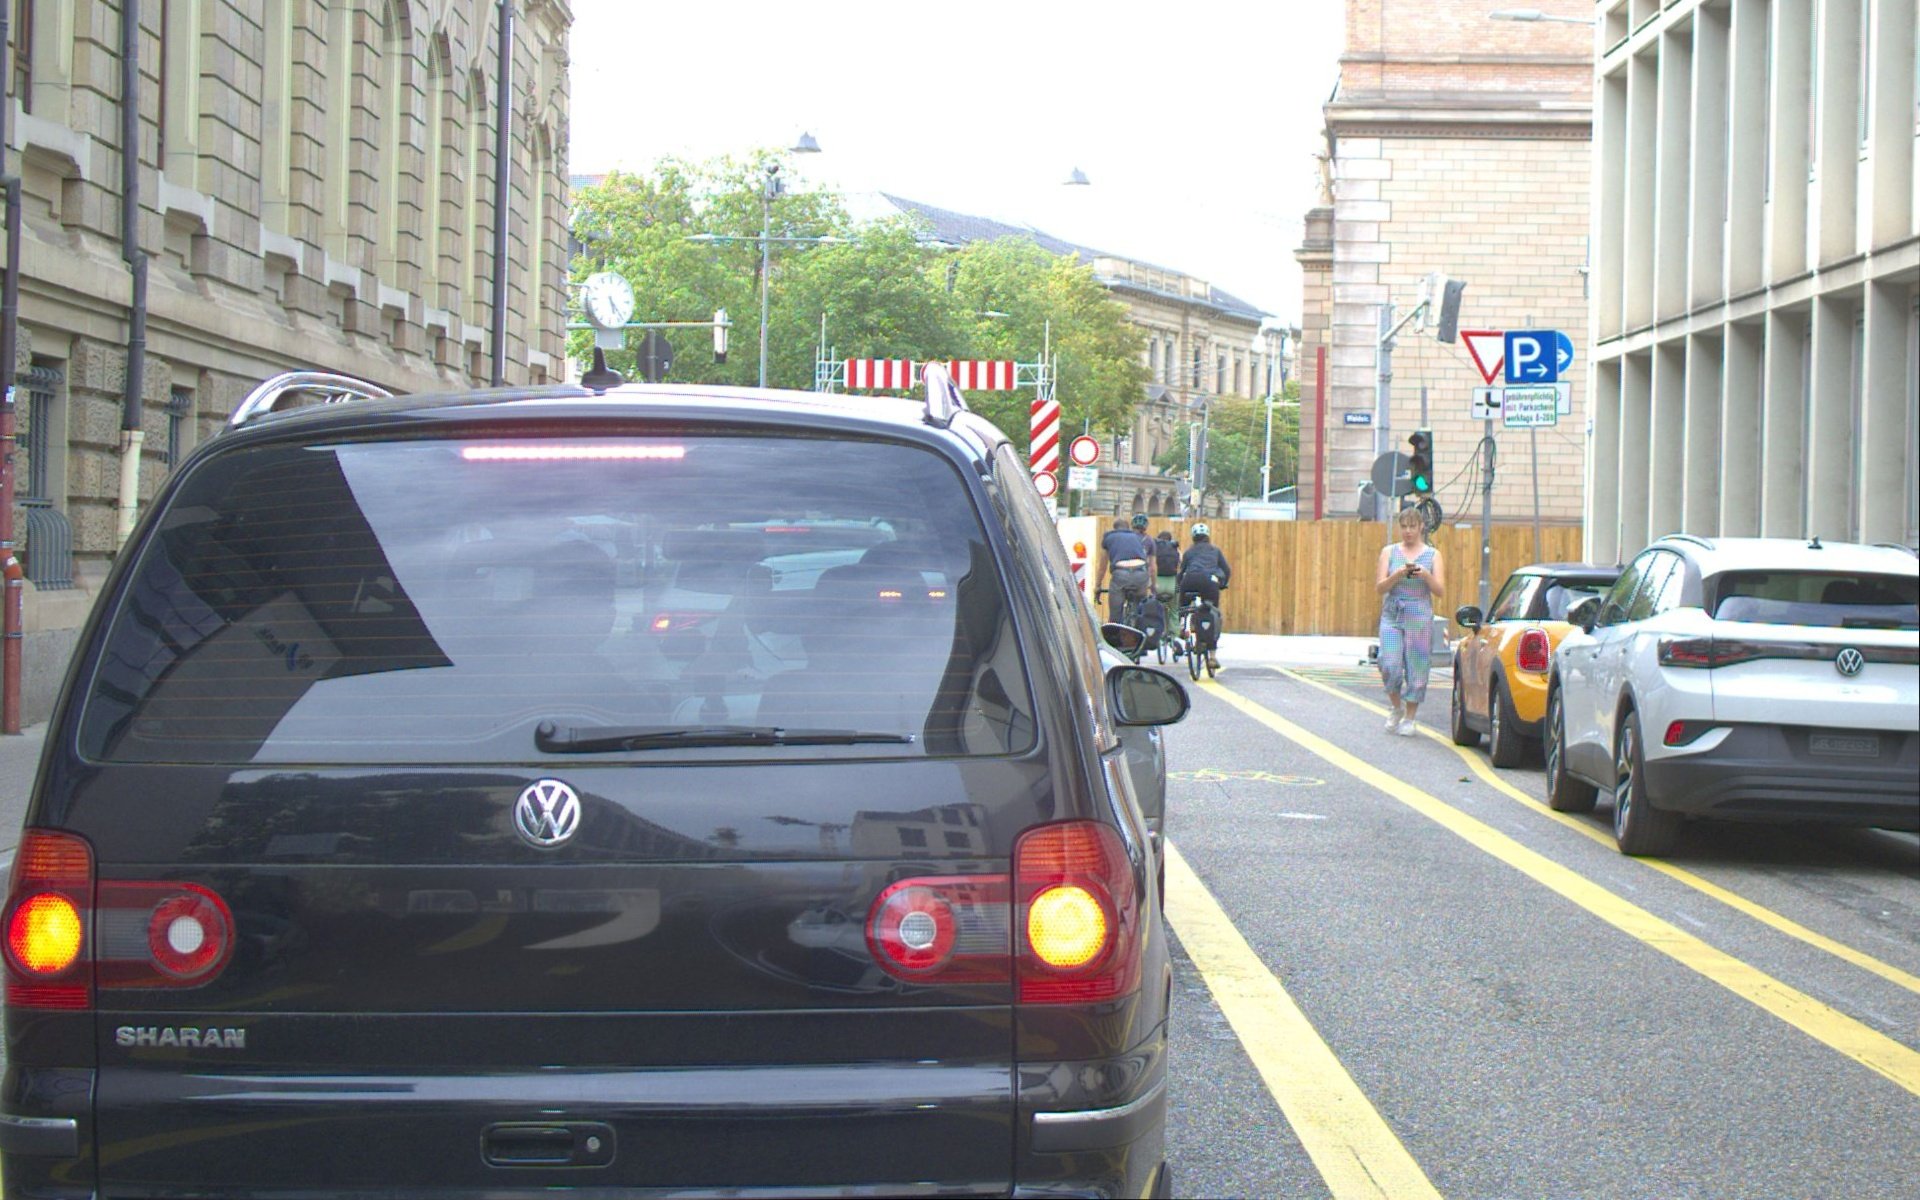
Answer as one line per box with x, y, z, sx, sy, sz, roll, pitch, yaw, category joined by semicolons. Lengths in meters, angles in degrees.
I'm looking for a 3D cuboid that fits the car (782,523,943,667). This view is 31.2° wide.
-1.106;-0.073;40.276;1.773;1.580;4.000;1;1;-1;car

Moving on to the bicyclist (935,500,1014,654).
0.134;-0.225;33.580;0.735;1.473;0.884;1;0;-1;bicyclist

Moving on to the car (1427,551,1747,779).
4.494;0.418;25.153;1.680;1.430;3.886;4;1;2;car

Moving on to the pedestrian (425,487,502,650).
-5.691;-0.364;39.435;0.664;1.813;1.048;3;0;-1;pedestrian

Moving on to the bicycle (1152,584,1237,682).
2.523;0.341;37.154;0.735;1.005;2.069;1;1;-1;bicycle

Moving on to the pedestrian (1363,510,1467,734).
3.628;0.171;27.458;0.703;1.757;0.700;1;0;-1;pedestrian

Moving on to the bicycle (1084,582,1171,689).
1.654;0.337;34.197;0.735;1.005;2.069;1;1;-1;bicycle

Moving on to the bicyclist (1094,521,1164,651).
1.932;-0.161;39.377;0.735;1.465;0.809;1;0;-1;bicyclist

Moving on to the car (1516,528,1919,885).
4.260;0.496;18.531;1.860;1.599;4.512;4;1;2;car

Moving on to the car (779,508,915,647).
-1.593;-0.321;47.278;1.734;1.784;4.104;1;1;-3;car

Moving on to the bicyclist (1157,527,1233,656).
2.532;-0.096;37.131;0.735;1.371;0.832;1;0;-1;bicyclist

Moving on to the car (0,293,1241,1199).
-0.463;0.478;6.624;1.790;1.784;4.103;1;1;2;car

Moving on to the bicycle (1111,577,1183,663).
2.282;0.231;42.116;0.735;1.005;2.069;1;1;-1;bicycle

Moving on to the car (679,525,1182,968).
-0.023;0.476;13.735;1.678;1.464;4.103;1;1;2;car

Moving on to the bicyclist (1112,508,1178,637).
2.267;-0.339;42.152;0.735;1.550;0.895;1;0;-1;bicyclist

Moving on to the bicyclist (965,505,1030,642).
0.443;-0.314;40.909;0.735;1.606;0.695;1;0;-1;bicyclist

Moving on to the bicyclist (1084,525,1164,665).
1.624;-0.055;34.189;0.735;1.372;0.829;1;0;-1;bicyclist

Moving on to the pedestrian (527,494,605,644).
-4.934;-0.390;43.117;0.792;1.813;1.048;3;0;-1;pedestrian

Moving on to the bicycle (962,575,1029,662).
0.413;0.208;40.983;0.735;1.005;2.069;1;1;-1;bicycle

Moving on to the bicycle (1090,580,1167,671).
1.919;0.277;39.364;0.735;1.005;2.069;1;1;-1;bicycle
